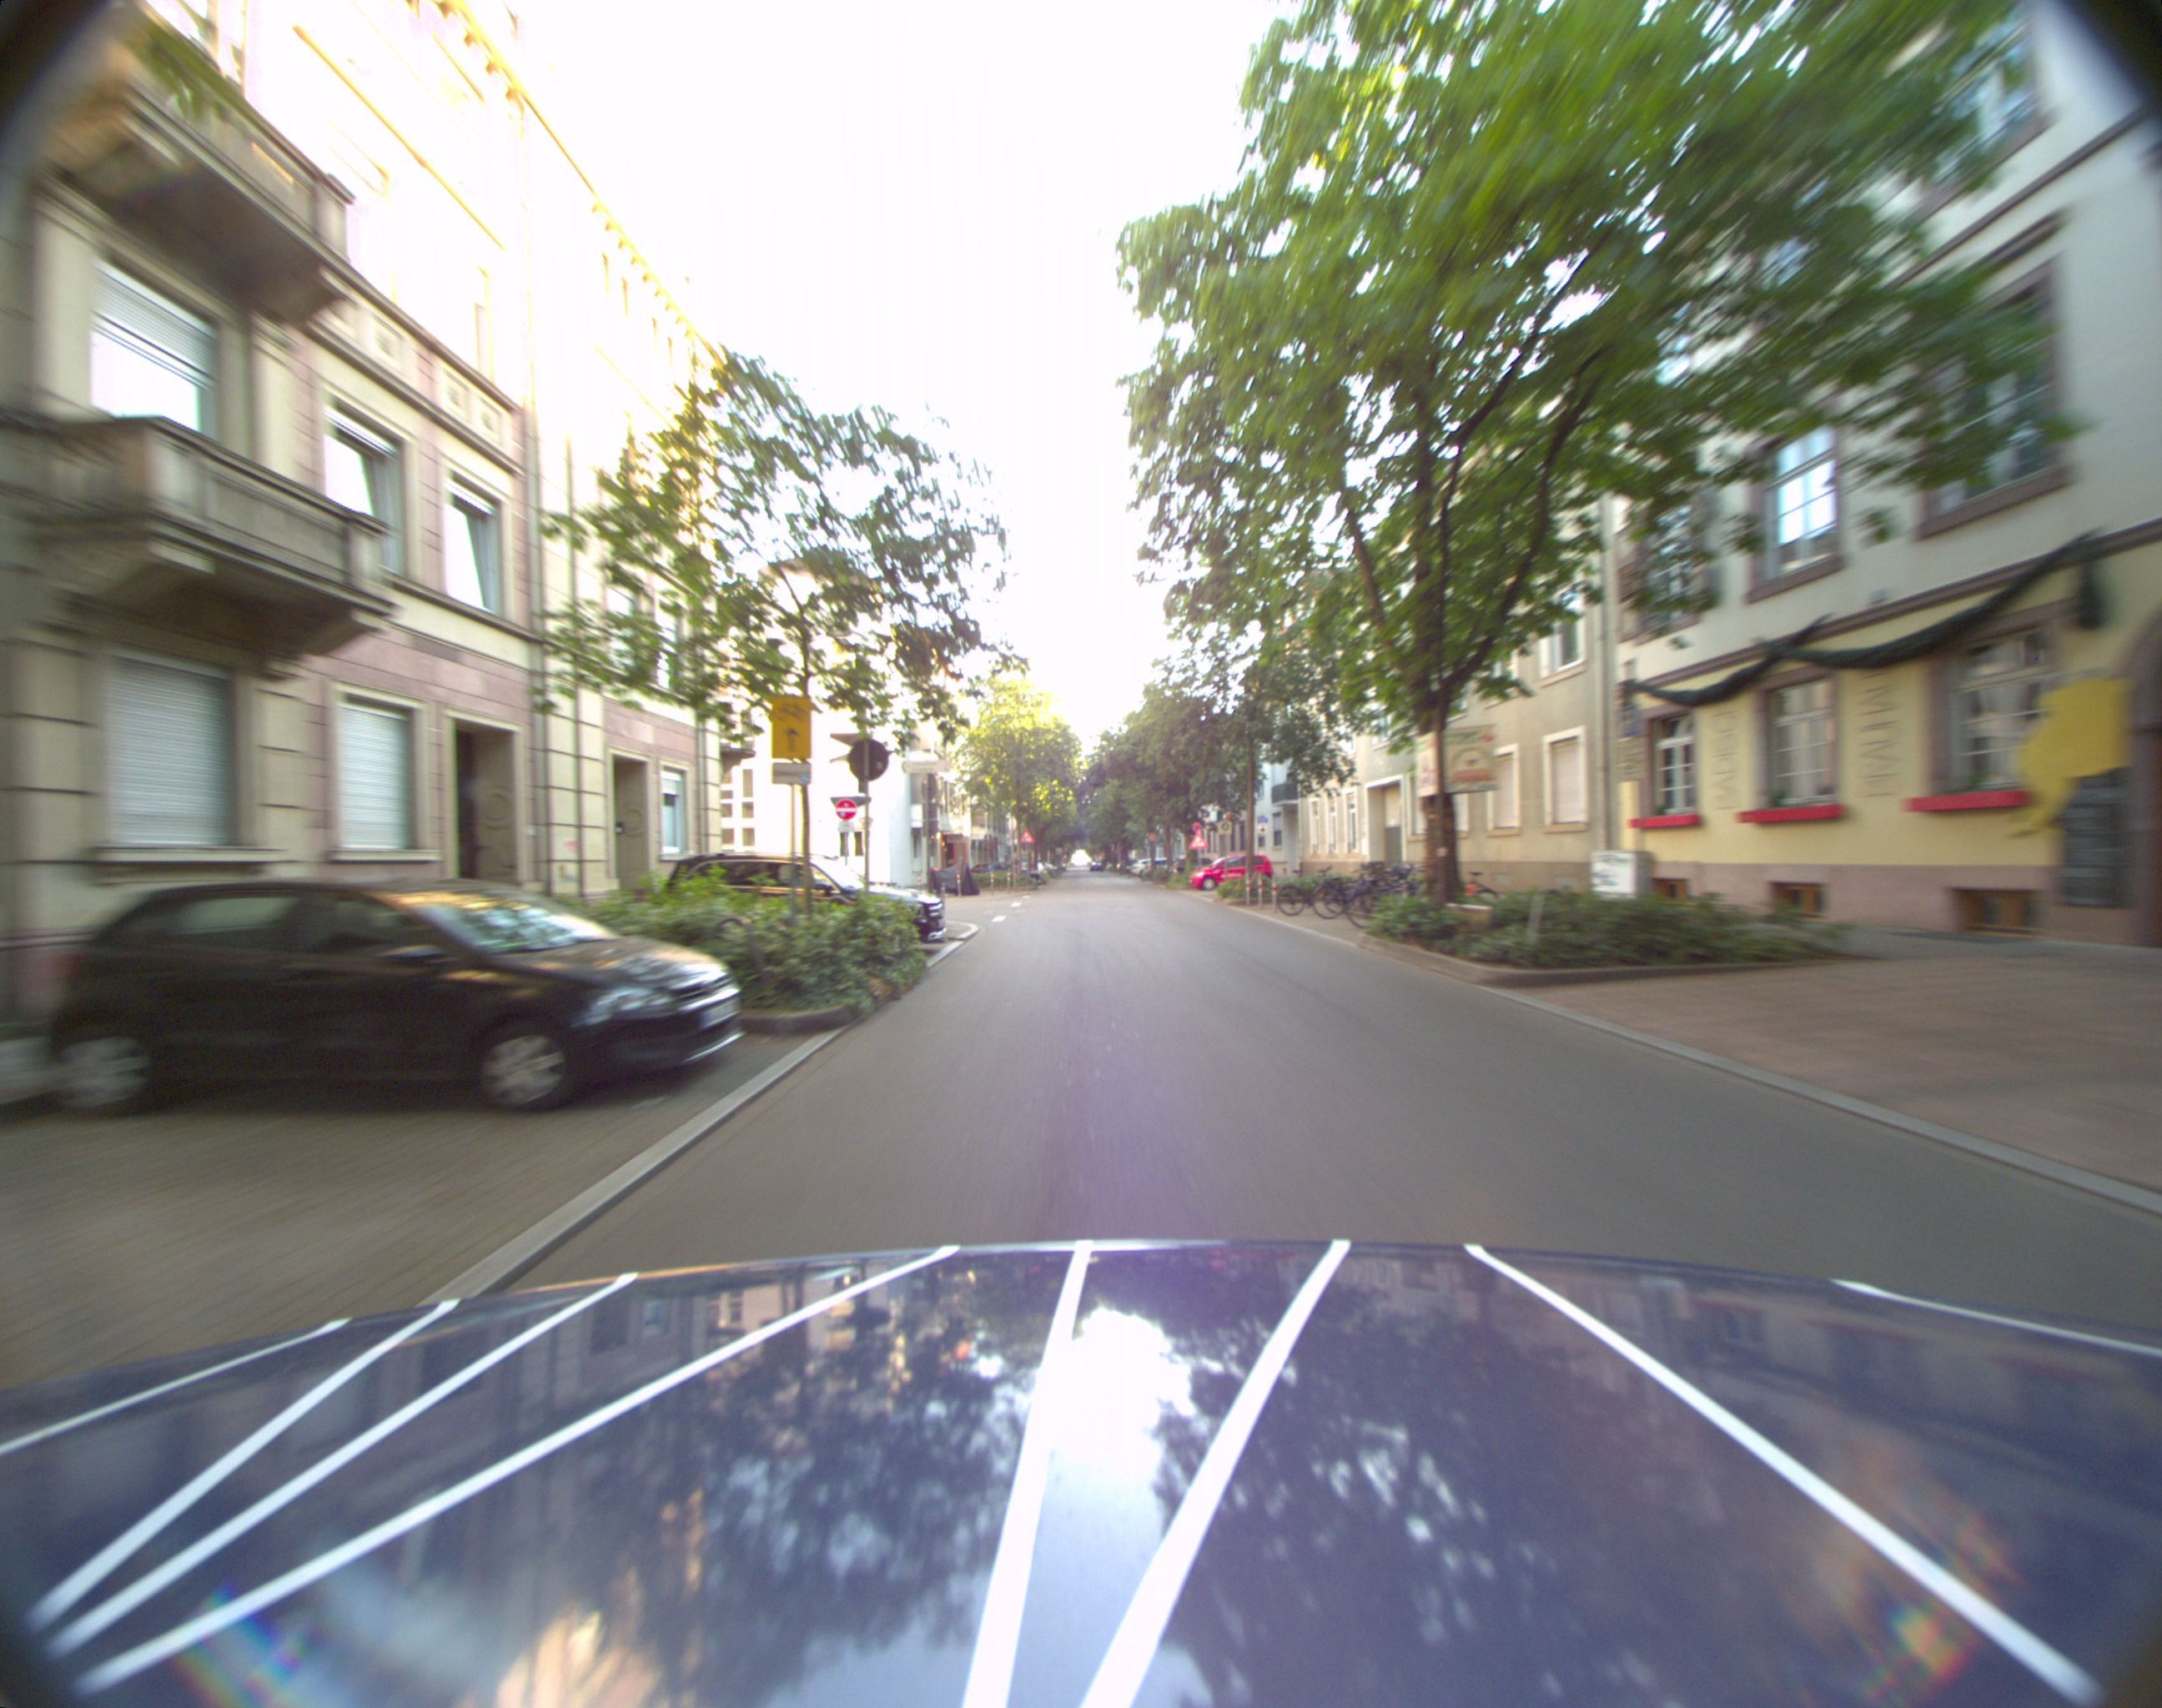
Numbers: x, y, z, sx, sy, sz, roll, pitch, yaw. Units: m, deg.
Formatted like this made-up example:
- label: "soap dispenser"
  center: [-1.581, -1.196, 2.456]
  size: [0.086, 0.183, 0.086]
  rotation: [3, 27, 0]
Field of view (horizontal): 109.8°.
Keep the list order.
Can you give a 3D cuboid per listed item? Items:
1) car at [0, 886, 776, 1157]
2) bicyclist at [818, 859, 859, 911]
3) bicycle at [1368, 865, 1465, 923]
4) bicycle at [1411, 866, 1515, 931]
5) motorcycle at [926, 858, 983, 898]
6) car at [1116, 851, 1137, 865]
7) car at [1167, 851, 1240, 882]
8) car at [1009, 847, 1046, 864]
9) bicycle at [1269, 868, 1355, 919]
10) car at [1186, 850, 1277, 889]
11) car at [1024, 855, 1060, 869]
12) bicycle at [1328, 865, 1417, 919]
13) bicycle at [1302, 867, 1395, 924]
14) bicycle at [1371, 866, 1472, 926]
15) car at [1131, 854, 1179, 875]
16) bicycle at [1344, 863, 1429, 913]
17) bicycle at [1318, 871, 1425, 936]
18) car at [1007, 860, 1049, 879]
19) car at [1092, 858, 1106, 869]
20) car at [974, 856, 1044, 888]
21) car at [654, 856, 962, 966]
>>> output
- label: "car"
  center: [-4.438, 1.017, 5.289]
  size: [3.876, 1.419, 1.781]
  rotation: [2, 0, -1]
- label: "bicyclist"
  center: [-7.793, 0.998, 24.444]
  size: [0.756, 1.612, 1.144]
  rotation: [-3, 1, -44]
- label: "bicycle"
  center: [7.194, 0.846, 16.320]
  size: [1.869, 1.093, 0.509]
  rotation: [-3, 1, -6]
- label: "bicycle"
  center: [7.110, 0.820, 14.172]
  size: [1.712, 1.093, 0.480]
  rotation: [-3, 1, -6]
- label: "motorcycle"
  center: [-5.297, 0.998, 31.799]
  size: [2.248, 1.537, 0.772]
  rotation: [-3, 1, -15]
- label: "car"
  center: [4.898, 0.420, 81.908]
  size: [1.999, 1.368, 3.999]
  rotation: [-3, 1, 0]
- label: "car"
  center: [6.646, 0.677, 41.425]
  size: [3.553, 1.411, 1.590]
  rotation: [-4, 0, -3]
- label: "car"
  center: [-5.356, 0.159, 76.726]
  size: [3.552, 1.411, 1.590]
  rotation: [-4, 0, 0]
- label: "bicycle"
  center: [5.487, 0.925, 18.037]
  size: [1.869, 1.092, 0.480]
  rotation: [-3, 1, -7]
- label: "car"
  center: [6.475, 0.670, 32.999]
  size: [3.498, 1.397, 1.673]
  rotation: [-4, 0, -3]
- label: "car"
  center: [-4.526, 0.925, 88.543]
  size: [3.998, 1.565, 1.928]
  rotation: [-1, 0, -2]
- label: "bicycle"
  center: [6.697, 0.863, 17.465]
  size: [1.869, 1.093, 0.480]
  rotation: [-3, 1, -6]
- label: "bicycle"
  center: [5.930, 0.910, 16.852]
  size: [1.869, 1.138, 0.480]
  rotation: [-3, 1, -7]
- label: "bicycle"
  center: [6.995, 0.849, 15.609]
  size: [1.869, 1.093, 0.480]
  rotation: [-3, 1, -6]
- label: "car"
  center: [5.861, 0.799, 60.155]
  size: [3.552, 1.411, 1.590]
  rotation: [-4, 0, 0]
- label: "bicycle"
  center: [7.380, 0.816, 18.363]
  size: [1.869, 1.093, 0.480]
  rotation: [-3, 1, -6]
- label: "bicycle"
  center: [5.563, 0.933, 14.567]
  size: [1.869, 1.093, 0.480]
  rotation: [-3, 1, -6]
- label: "car"
  center: [-4.770, 1.403, 68.479]
  size: [3.552, 1.411, 1.590]
  rotation: [-4, 0, 0]
- label: "car"
  center: [2.400, 1.244, 100.488]
  size: [1.673, 1.411, 3.555]
  rotation: [-4, 0, 0]
- label: "car"
  center: [-4.476, 1.109, 47.606]
  size: [4.166, 1.665, 1.590]
  rotation: [-4, 0, 0]
- label: "car"
  center: [-4.417, 0.878, 12.676]
  size: [4.420, 1.552, 1.867]
  rotation: [2, 0, 7]
